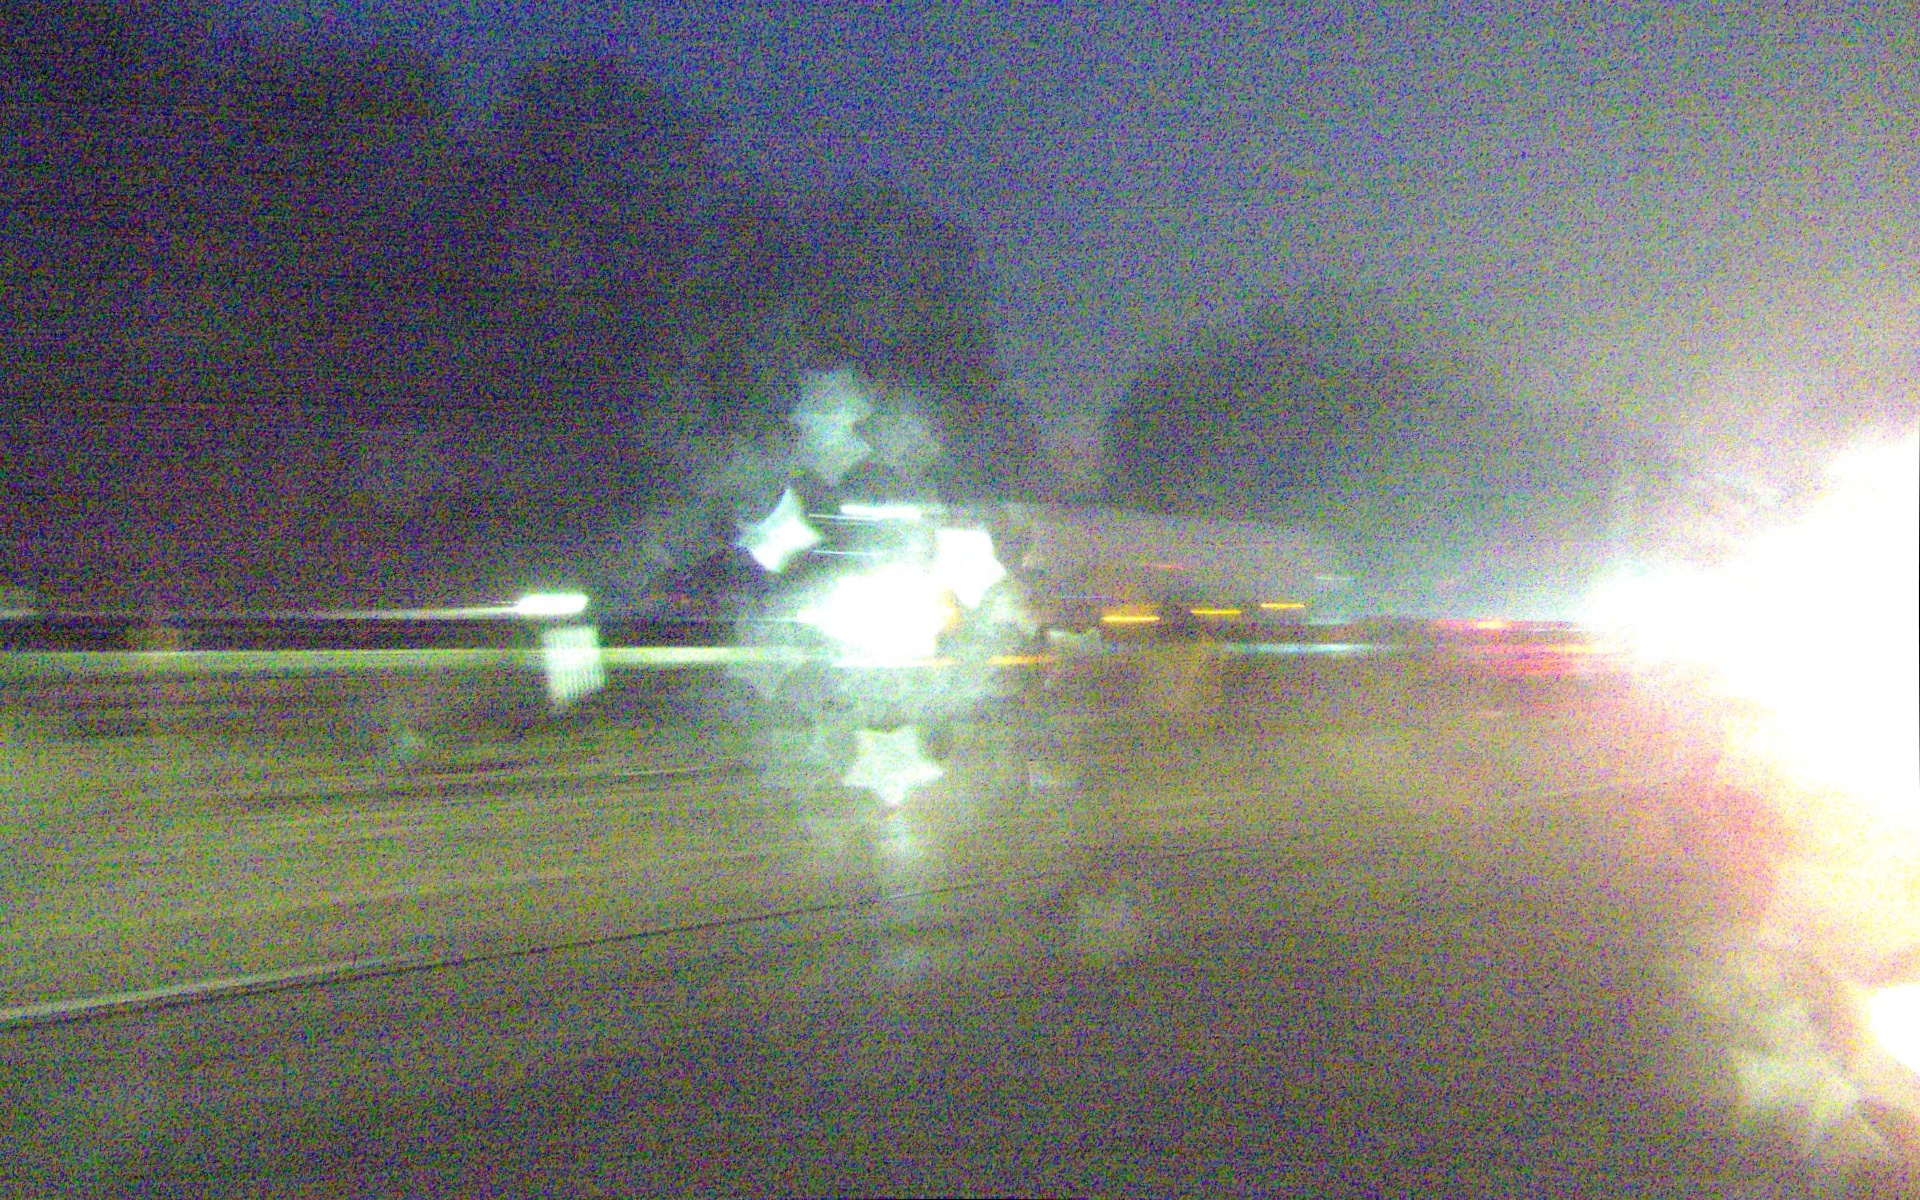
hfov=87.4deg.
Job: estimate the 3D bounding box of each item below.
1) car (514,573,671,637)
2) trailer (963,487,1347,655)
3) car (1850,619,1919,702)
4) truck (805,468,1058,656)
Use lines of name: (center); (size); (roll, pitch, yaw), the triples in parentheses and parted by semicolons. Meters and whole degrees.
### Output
car: (-10.752, 0.157, 29.640); (1.807, 1.736, 3.984); (2, 0, 37)
trailer: (5.154, -0.479, 24.881); (10.333, 3.519, 2.594); (2, 0, -33)
car: (20.285, 1.221, 20.615); (4.861, 1.537, 1.757); (1, 0, -33)
truck: (-0.585, -0.667, 21.164); (4.591, 3.503, 2.589); (2, 0, -33)
